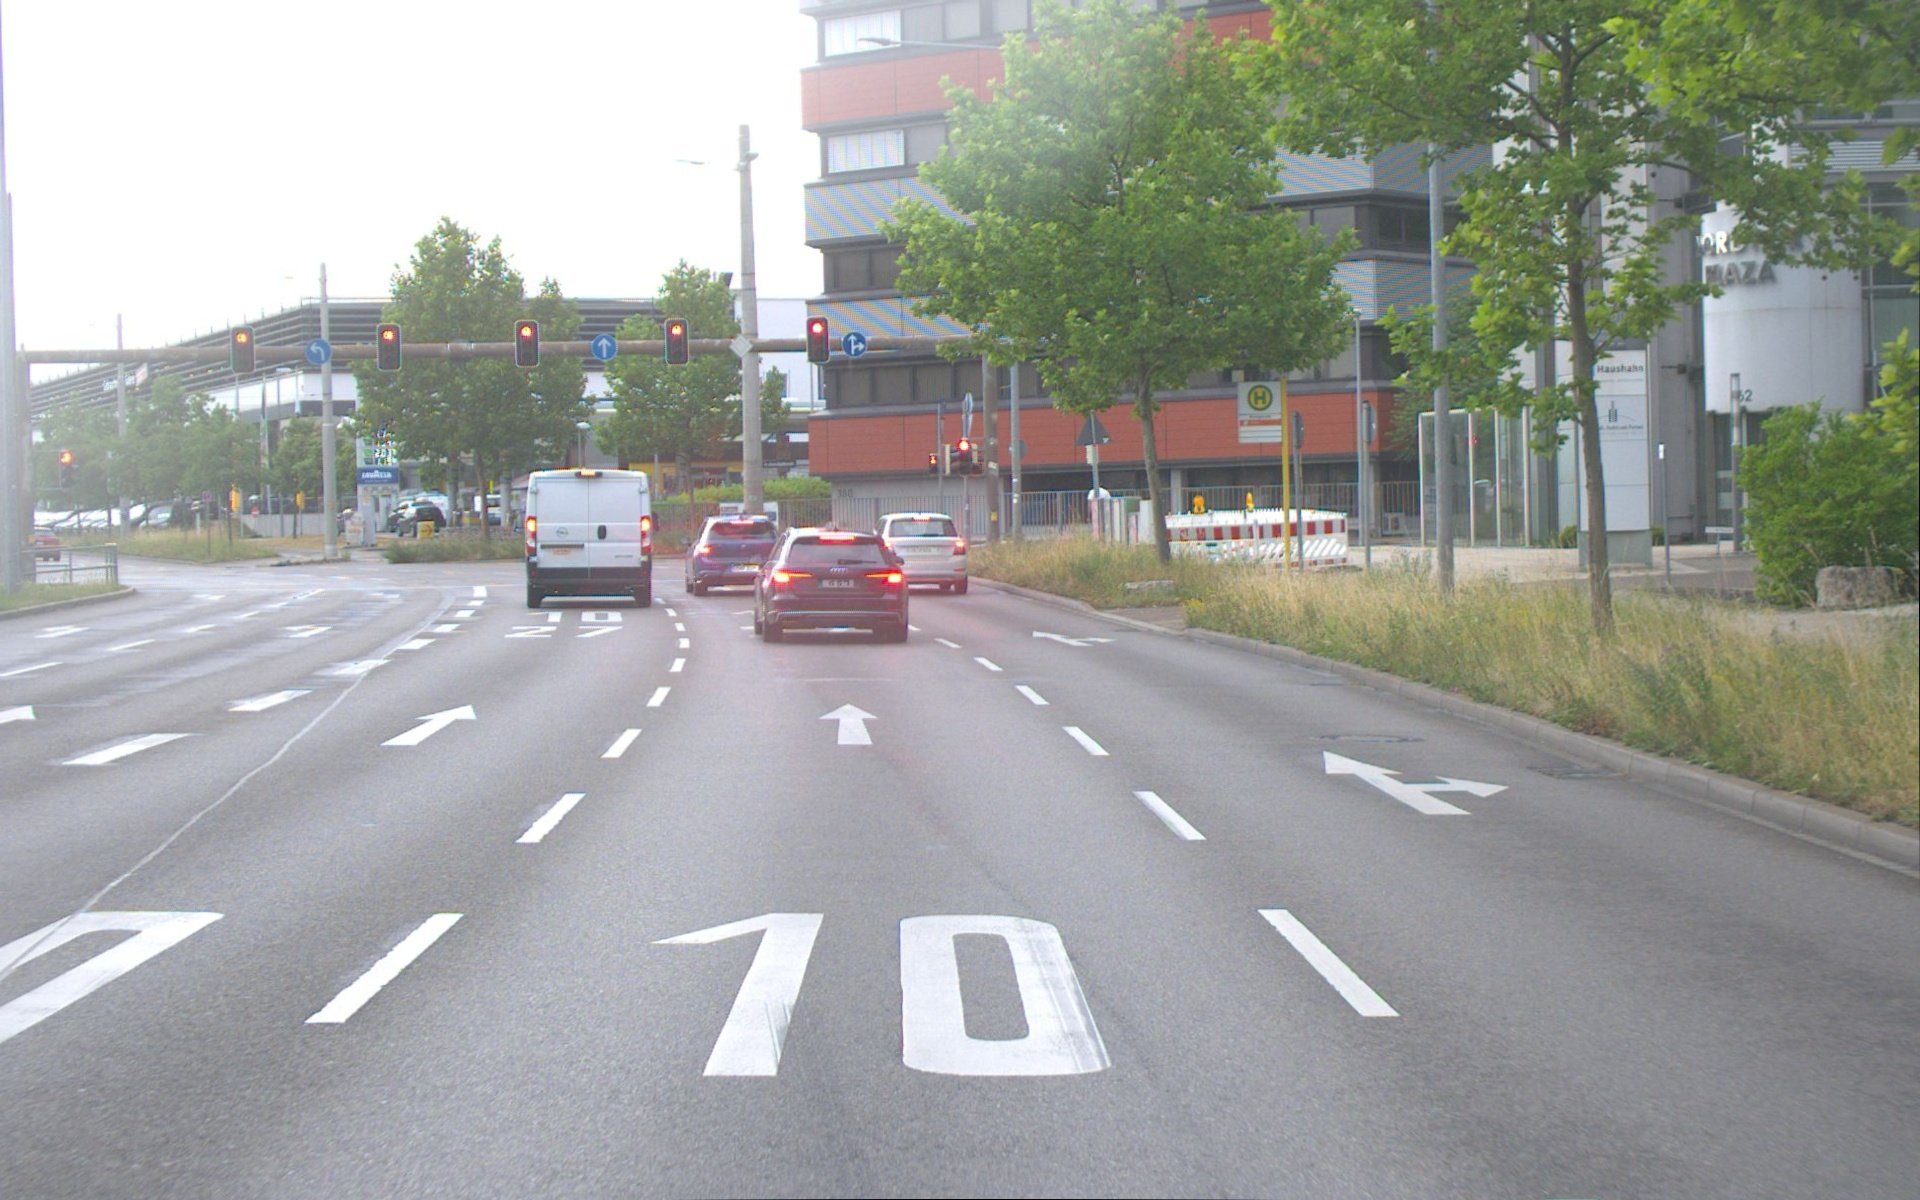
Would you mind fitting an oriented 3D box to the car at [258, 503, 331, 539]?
[{"bbox_3d":[-40.204,-4.747,207.699,3.986,2.007,2.000,0,-2,-22],"label":"car"}]

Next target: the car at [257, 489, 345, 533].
[{"bbox_3d":[-32.825,-4.436,171.254,3.986,2.007,2.000,0,-2,-22],"label":"car"}]

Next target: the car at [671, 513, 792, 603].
[{"bbox_3d":[-4.254,-0.759,63.613,2.021,1.617,4.001,0,0,-7],"label":"car"}]

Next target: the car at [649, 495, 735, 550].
[{"bbox_3d":[-11.092,-3.197,142.104,1.993,2.007,4.000,1,-2,-30],"label":"car"}]

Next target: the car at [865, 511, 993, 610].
[{"bbox_3d":[-0.606,-0.748,63.090,2.021,1.763,4.001,0,1,-5],"label":"car"}]

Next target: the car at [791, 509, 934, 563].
[{"bbox_3d":[-3.039,-1.964,106.551,4.322,1.617,2.022,0,0,44],"label":"car"}]

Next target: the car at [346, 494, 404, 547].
[{"bbox_3d":[-24.941,-3.354,146.595,1.993,2.007,4.001,0,-2,-16],"label":"car"}]

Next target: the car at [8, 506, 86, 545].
[{"bbox_3d":[-50.921,-4.129,191.801,3.986,2.007,2.000,0,-2,-22],"label":"car"}]

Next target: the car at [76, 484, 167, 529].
[{"bbox_3d":[-40.470,-4.502,165.921,3.986,2.007,2.000,0,-2,-22],"label":"car"}]

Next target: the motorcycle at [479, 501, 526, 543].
[{"bbox_3d":[-24.684,-4.207,185.500,1.993,2.007,4.001,0,-2,-16],"label":"motorcycle"}]

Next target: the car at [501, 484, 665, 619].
[{"bbox_3d":[-6.259,-0.800,57.695,2.511,2.169,5.150,0,1,-4],"label":"car"}]

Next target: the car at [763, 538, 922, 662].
[{"bbox_3d":[-1.438,-0.028,43.745,1.764,1.458,4.627,1,1,1],"label":"car"}]

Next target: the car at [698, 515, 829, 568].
[{"bbox_3d":[-6.299,-1.852,109.907,3.997,1.617,2.022,0,0,44],"label":"car"}]

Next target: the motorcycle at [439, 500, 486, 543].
[{"bbox_3d":[-26.744,-4.207,184.868,1.993,2.007,4.001,0,-2,-16],"label":"motorcycle"}]

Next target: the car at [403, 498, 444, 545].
[{"bbox_3d":[-25.370,-3.690,162.591,1.817,2.007,3.471,0,-2,-11],"label":"car"}]

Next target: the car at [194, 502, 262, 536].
[{"bbox_3d":[-47.489,-5.260,223.060,3.986,2.007,2.000,0,-2,-22],"label":"car"}]

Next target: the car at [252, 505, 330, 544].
[{"bbox_3d":[-37.271,-4.178,191.543,3.986,2.007,2.000,0,-2,-22],"label":"car"}]

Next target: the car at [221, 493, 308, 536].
[{"bbox_3d":[-35.200,-4.326,174.001,3.986,2.007,2.000,0,-2,-22],"label":"car"}]

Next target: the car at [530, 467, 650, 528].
[{"bbox_3d":[-12.824,-3.533,119.069,3.997,2.007,1.995,1,-1,44],"label":"car"}]
